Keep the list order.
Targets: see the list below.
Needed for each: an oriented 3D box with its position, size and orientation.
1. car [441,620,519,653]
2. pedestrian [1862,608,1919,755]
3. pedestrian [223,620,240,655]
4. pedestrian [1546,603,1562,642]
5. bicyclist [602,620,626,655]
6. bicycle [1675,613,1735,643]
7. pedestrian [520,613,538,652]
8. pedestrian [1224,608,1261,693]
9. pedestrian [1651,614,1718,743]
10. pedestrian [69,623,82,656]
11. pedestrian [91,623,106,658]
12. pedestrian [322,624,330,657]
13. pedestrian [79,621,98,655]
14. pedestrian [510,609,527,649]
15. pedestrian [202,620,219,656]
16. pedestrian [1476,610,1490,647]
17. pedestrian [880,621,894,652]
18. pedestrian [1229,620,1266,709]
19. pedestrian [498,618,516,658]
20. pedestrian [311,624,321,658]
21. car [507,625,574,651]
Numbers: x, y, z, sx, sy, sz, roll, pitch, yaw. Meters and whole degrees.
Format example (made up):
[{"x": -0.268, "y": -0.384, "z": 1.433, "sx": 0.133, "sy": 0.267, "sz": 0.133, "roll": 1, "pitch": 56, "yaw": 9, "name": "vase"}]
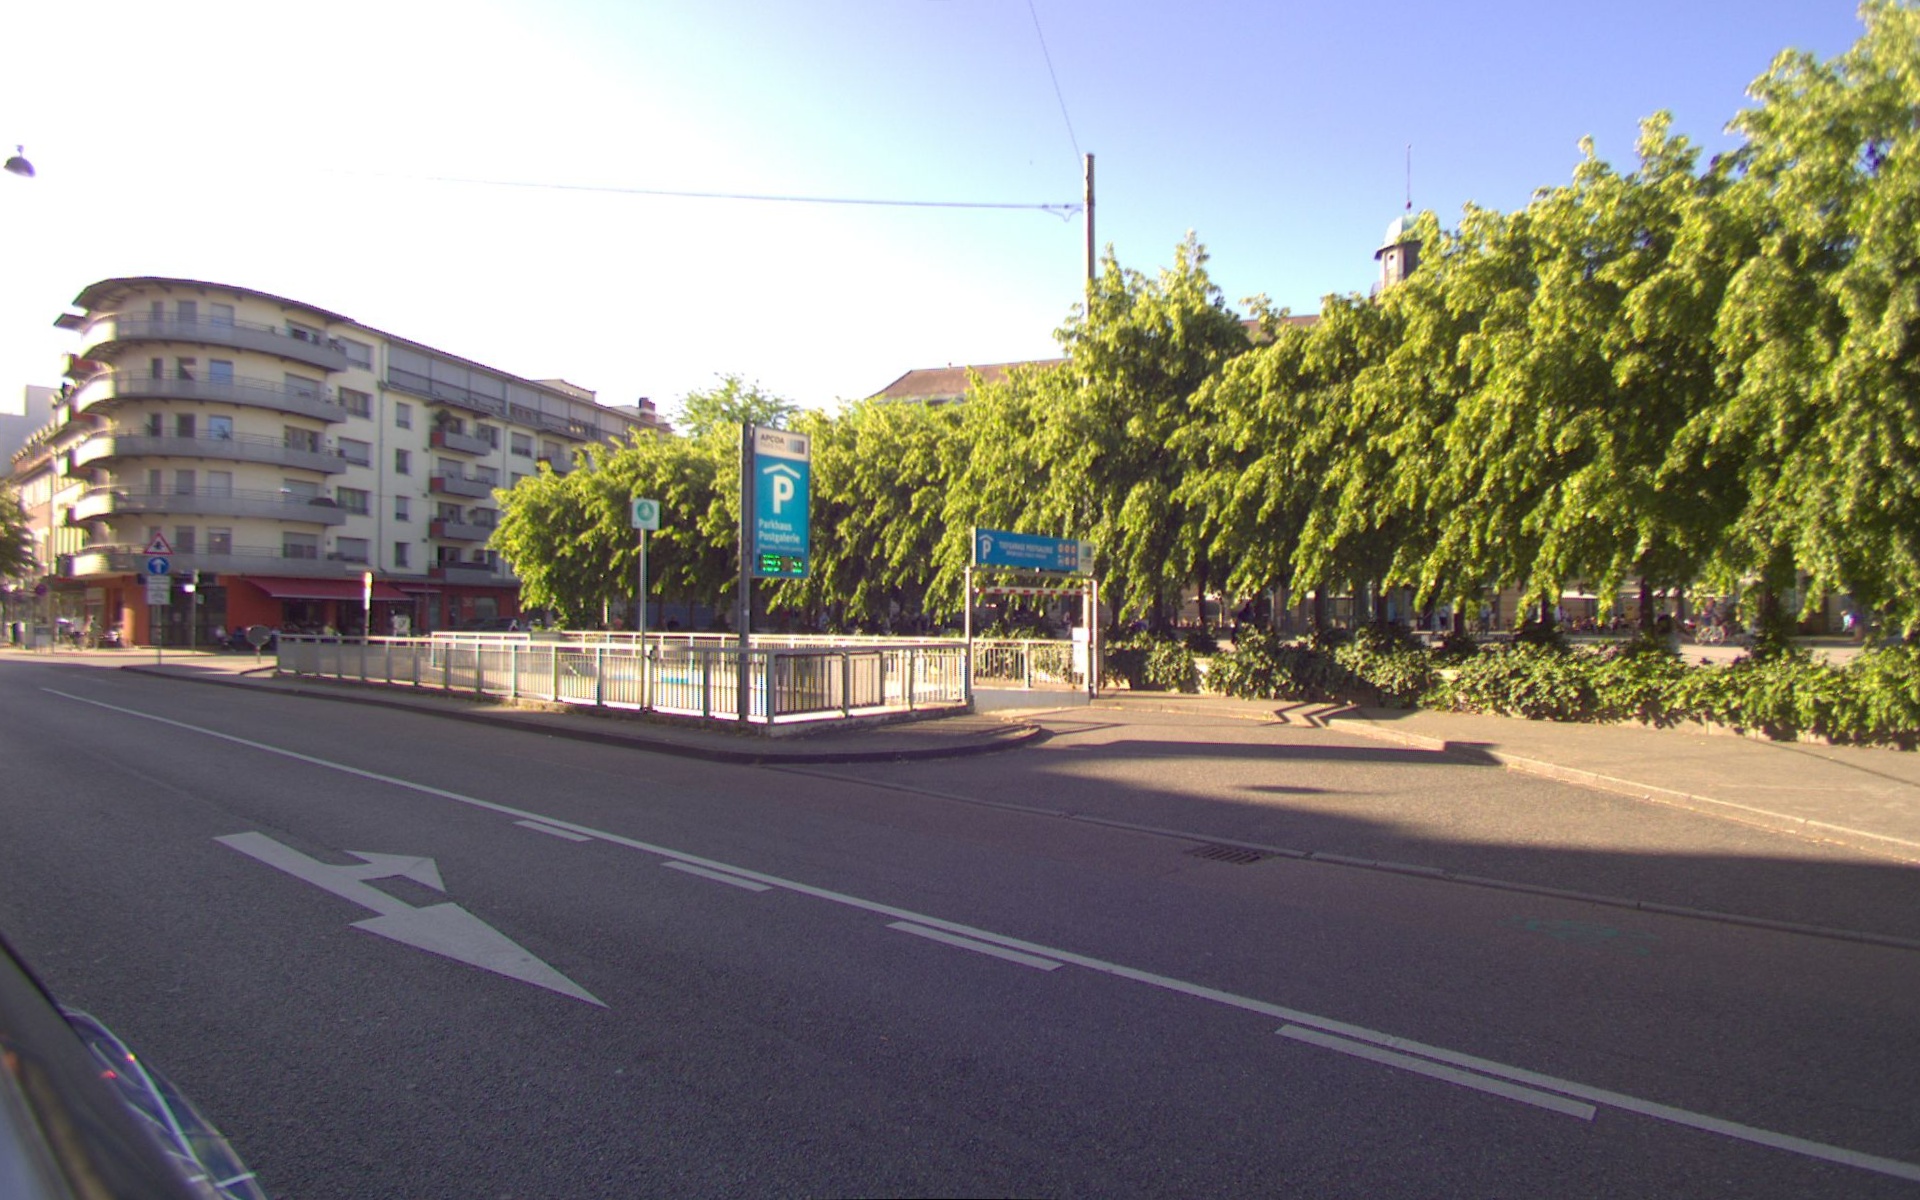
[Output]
[{"x": -29.555, "y": 2.234, "z": 62.436, "sx": 1.938, "sy": 1.927, "sz": 4.403, "roll": -1, "pitch": -1, "yaw": 16, "name": "car"}, {"x": 12.305, "y": 1.046, "z": 13.207, "sx": 0.597, "sy": 1.870, "sz": 0.578, "roll": -1, "pitch": 0, "yaw": 22, "name": "pedestrian"}, {"x": -36.102, "y": 1.870, "z": 50.122, "sx": 0.642, "sy": 1.721, "sz": 0.568, "roll": -2, "pitch": -2, "yaw": 43, "name": "pedestrian"}, {"x": 28.273, "y": 1.072, "z": 48.181, "sx": 0.598, "sy": 1.806, "sz": 0.577, "roll": -1, "pitch": -1, "yaw": 27, "name": "pedestrian"}, {"x": -16.644, "y": 1.804, "z": 48.686, "sx": 0.960, "sy": 1.627, "sz": 0.715, "roll": -1, "pitch": 0, "yaw": -10, "name": "bicyclist"}, {"x": 26.570, "y": 0.985, "z": 36.149, "sx": 0.496, "sy": 1.024, "sz": 2.061, "roll": -1, "pitch": 0, "yaw": -3, "name": "bicycle"}, {"x": -20.291, "y": 1.536, "z": 47.669, "sx": 0.574, "sy": 1.806, "sz": 0.601, "roll": -1, "pitch": 0, "yaw": 0, "name": "pedestrian"}, {"x": 6.396, "y": 1.124, "z": 22.892, "sx": 0.674, "sy": 1.870, "sz": 0.577, "roll": -1, "pitch": -1, "yaw": 30, "name": "pedestrian"}, {"x": 10.849, "y": 1.148, "z": 15.159, "sx": 0.732, "sy": 1.870, "sz": 0.574, "roll": -1, "pitch": -1, "yaw": 44, "name": "pedestrian"}, {"x": -42.790, "y": 1.910, "z": 48.971, "sx": 0.515, "sy": 1.541, "sz": 0.371, "roll": -1, "pitch": -1, "yaw": 37, "name": "pedestrian"}, {"x": -42.362, "y": 1.998, "z": 49.770, "sx": 0.515, "sy": 1.685, "sz": 0.437, "roll": -1, "pitch": -1, "yaw": 37, "name": "pedestrian"}, {"x": -31.854, "y": 2.029, "z": 50.828, "sx": 0.266, "sy": 1.680, "sz": 0.362, "roll": 0, "pitch": -1, "yaw": -17, "name": "pedestrian"}, {"x": -42.500, "y": 1.860, "z": 49.351, "sx": 0.792, "sy": 1.634, "sz": 0.563, "roll": -1, "pitch": -1, "yaw": 37, "name": "pedestrian"}, {"x": -20.425, "y": 1.331, "z": 46.822, "sx": 0.574, "sy": 1.806, "sz": 0.602, "roll": -1, "pitch": 0, "yaw": -5, "name": "pedestrian"}, {"x": -36.960, "y": 1.864, "z": 49.918, "sx": 0.642, "sy": 1.721, "sz": 0.568, "roll": -2, "pitch": -2, "yaw": 43, "name": "pedestrian"}, {"x": 26.157, "y": 1.410, "z": 50.597, "sx": 0.599, "sy": 1.806, "sz": 0.576, "roll": -1, "pitch": -1, "yaw": 31, "name": "pedestrian"}, {"x": -4.222, "y": 2.097, "z": 58.409, "sx": 0.578, "sy": 1.806, "sz": 0.597, "roll": -1, "pitch": 0, "yaw": 20, "name": "pedestrian"}, {"x": 6.231, "y": 1.385, "z": 21.935, "sx": 0.600, "sy": 1.870, "sz": 0.575, "roll": -1, "pitch": -1, "yaw": 38, "name": "pedestrian"}, {"x": -20.637, "y": 1.718, "z": 46.152, "sx": 0.574, "sy": 1.806, "sz": 0.602, "roll": -1, "pitch": 0, "yaw": -5, "name": "pedestrian"}, {"x": -32.204, "y": 2.032, "z": 50.587, "sx": 0.318, "sy": 1.680, "sz": 0.362, "roll": 0, "pitch": -1, "yaw": -17, "name": "pedestrian"}, {"x": -28.076, "y": 2.515, "z": 67.871, "sx": 1.938, "sy": 1.633, "sz": 4.272, "roll": -1, "pitch": -1, "yaw": 16, "name": "car"}]
